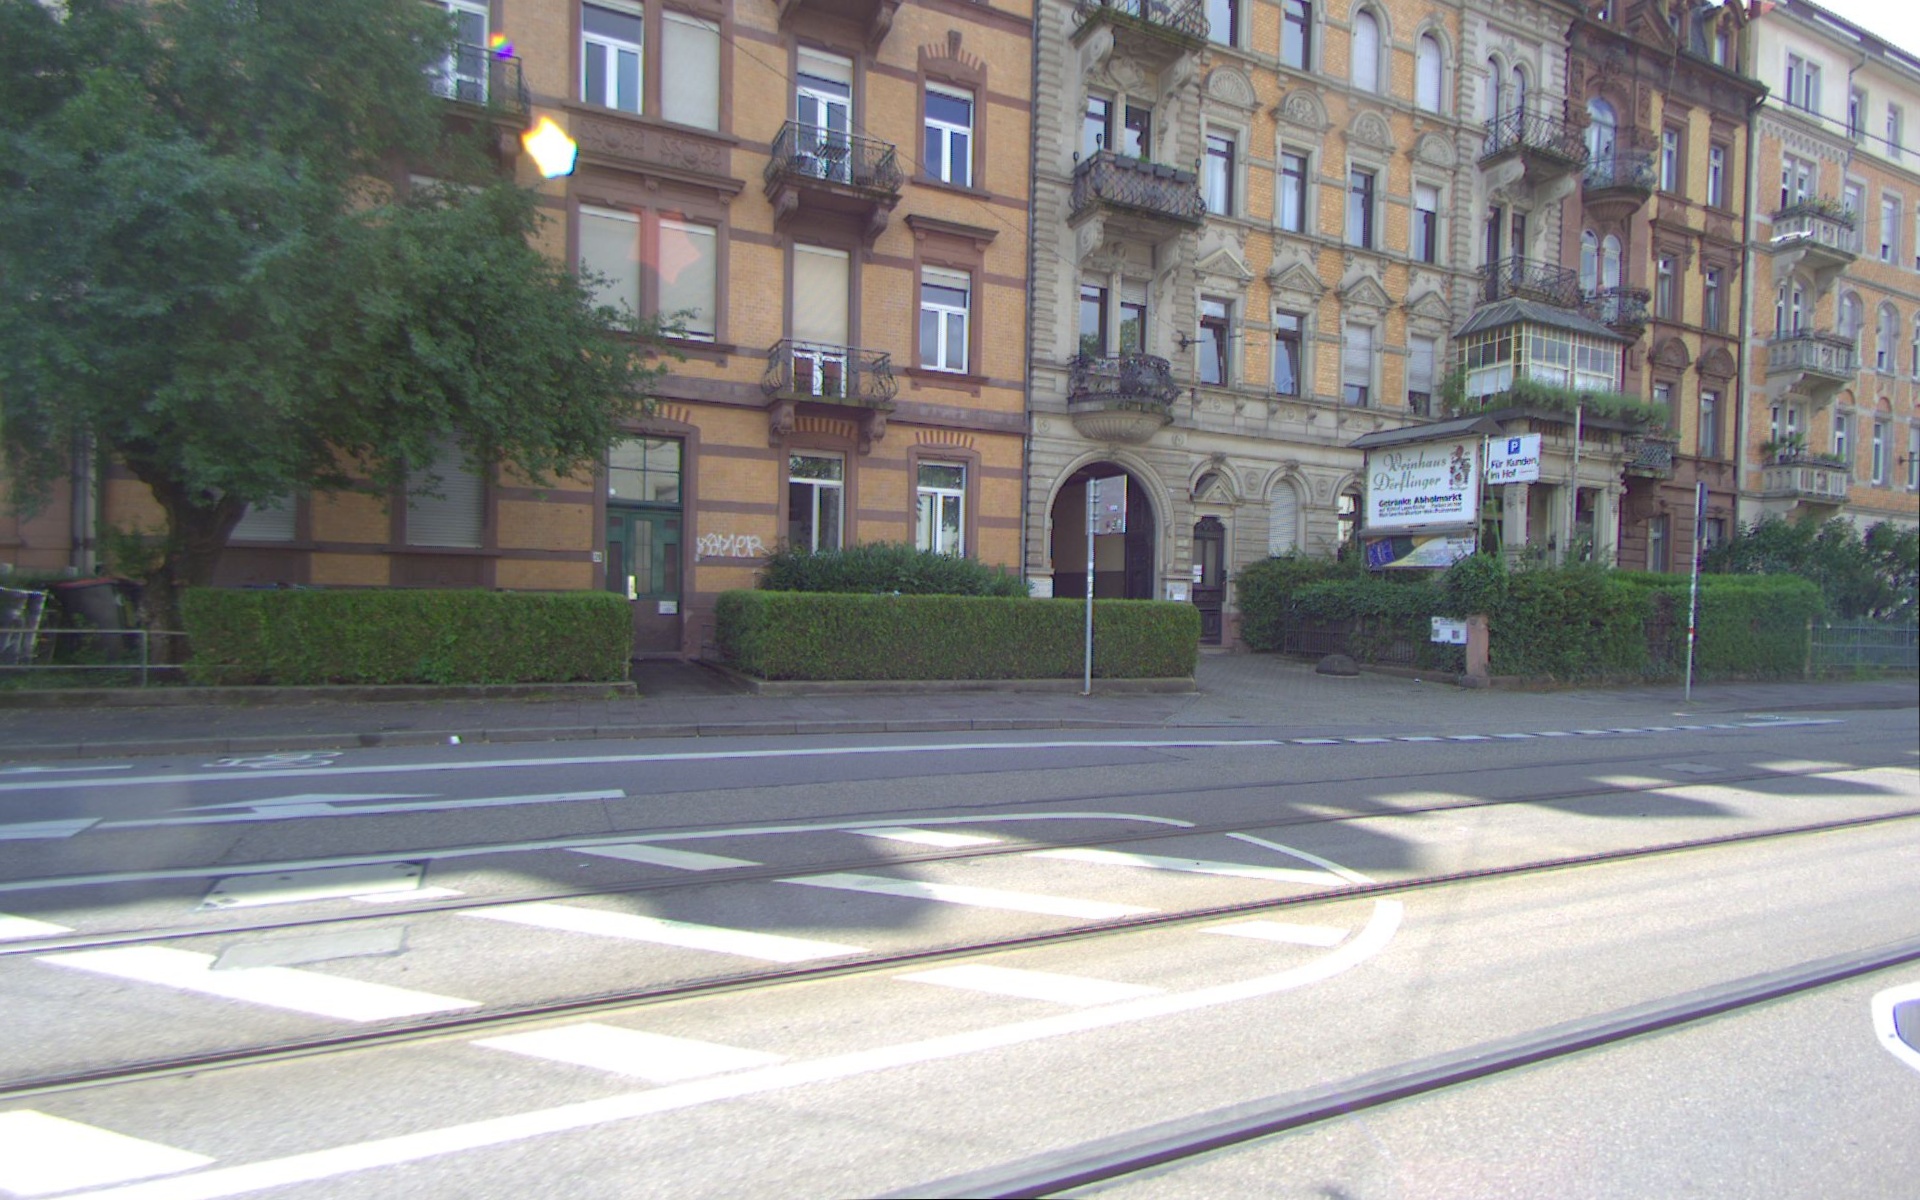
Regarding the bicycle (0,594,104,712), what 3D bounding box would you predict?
[{"bbox_3d":[-9.504,0.521,10.526,0.490,1.146,1.300,1,1,-26],"label":"bicycle"}]
